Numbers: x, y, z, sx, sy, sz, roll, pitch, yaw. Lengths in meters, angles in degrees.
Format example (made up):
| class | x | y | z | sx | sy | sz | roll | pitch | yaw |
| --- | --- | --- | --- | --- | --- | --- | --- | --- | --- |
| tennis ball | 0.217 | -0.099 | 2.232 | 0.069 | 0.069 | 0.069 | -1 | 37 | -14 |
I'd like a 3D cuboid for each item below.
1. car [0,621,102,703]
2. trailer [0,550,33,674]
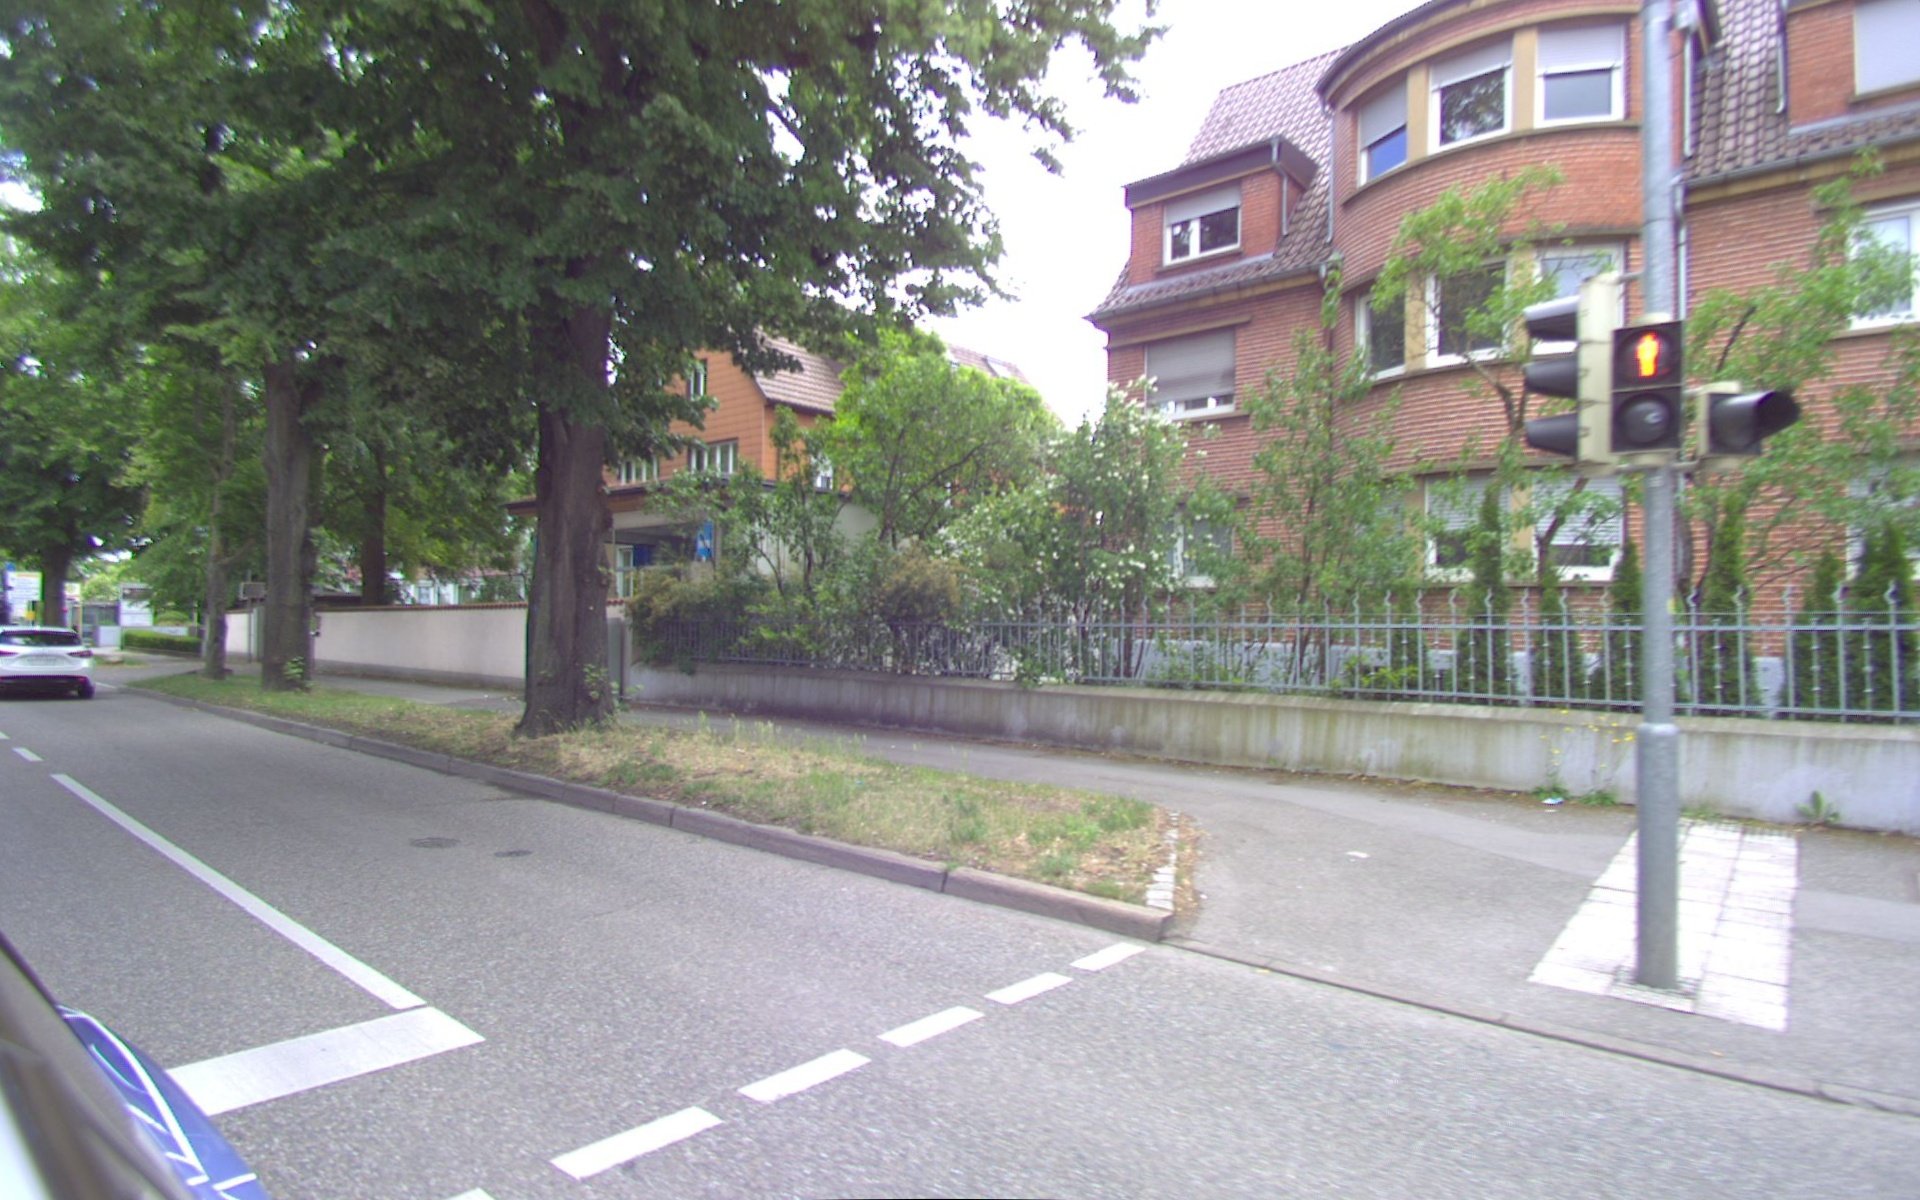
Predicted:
| class | x | y | z | sx | sy | sz | roll | pitch | yaw |
| --- | --- | --- | --- | --- | --- | --- | --- | --- | --- |
| car | -19.005 | 1.204 | 20.563 | 4.225 | 1.481 | 1.748 | 0 | -4 | 42 |
| trailer | -35.466 | 0.388 | 35.561 | 14.386 | 3.837 | 2.828 | 0 | -1 | 42 |
